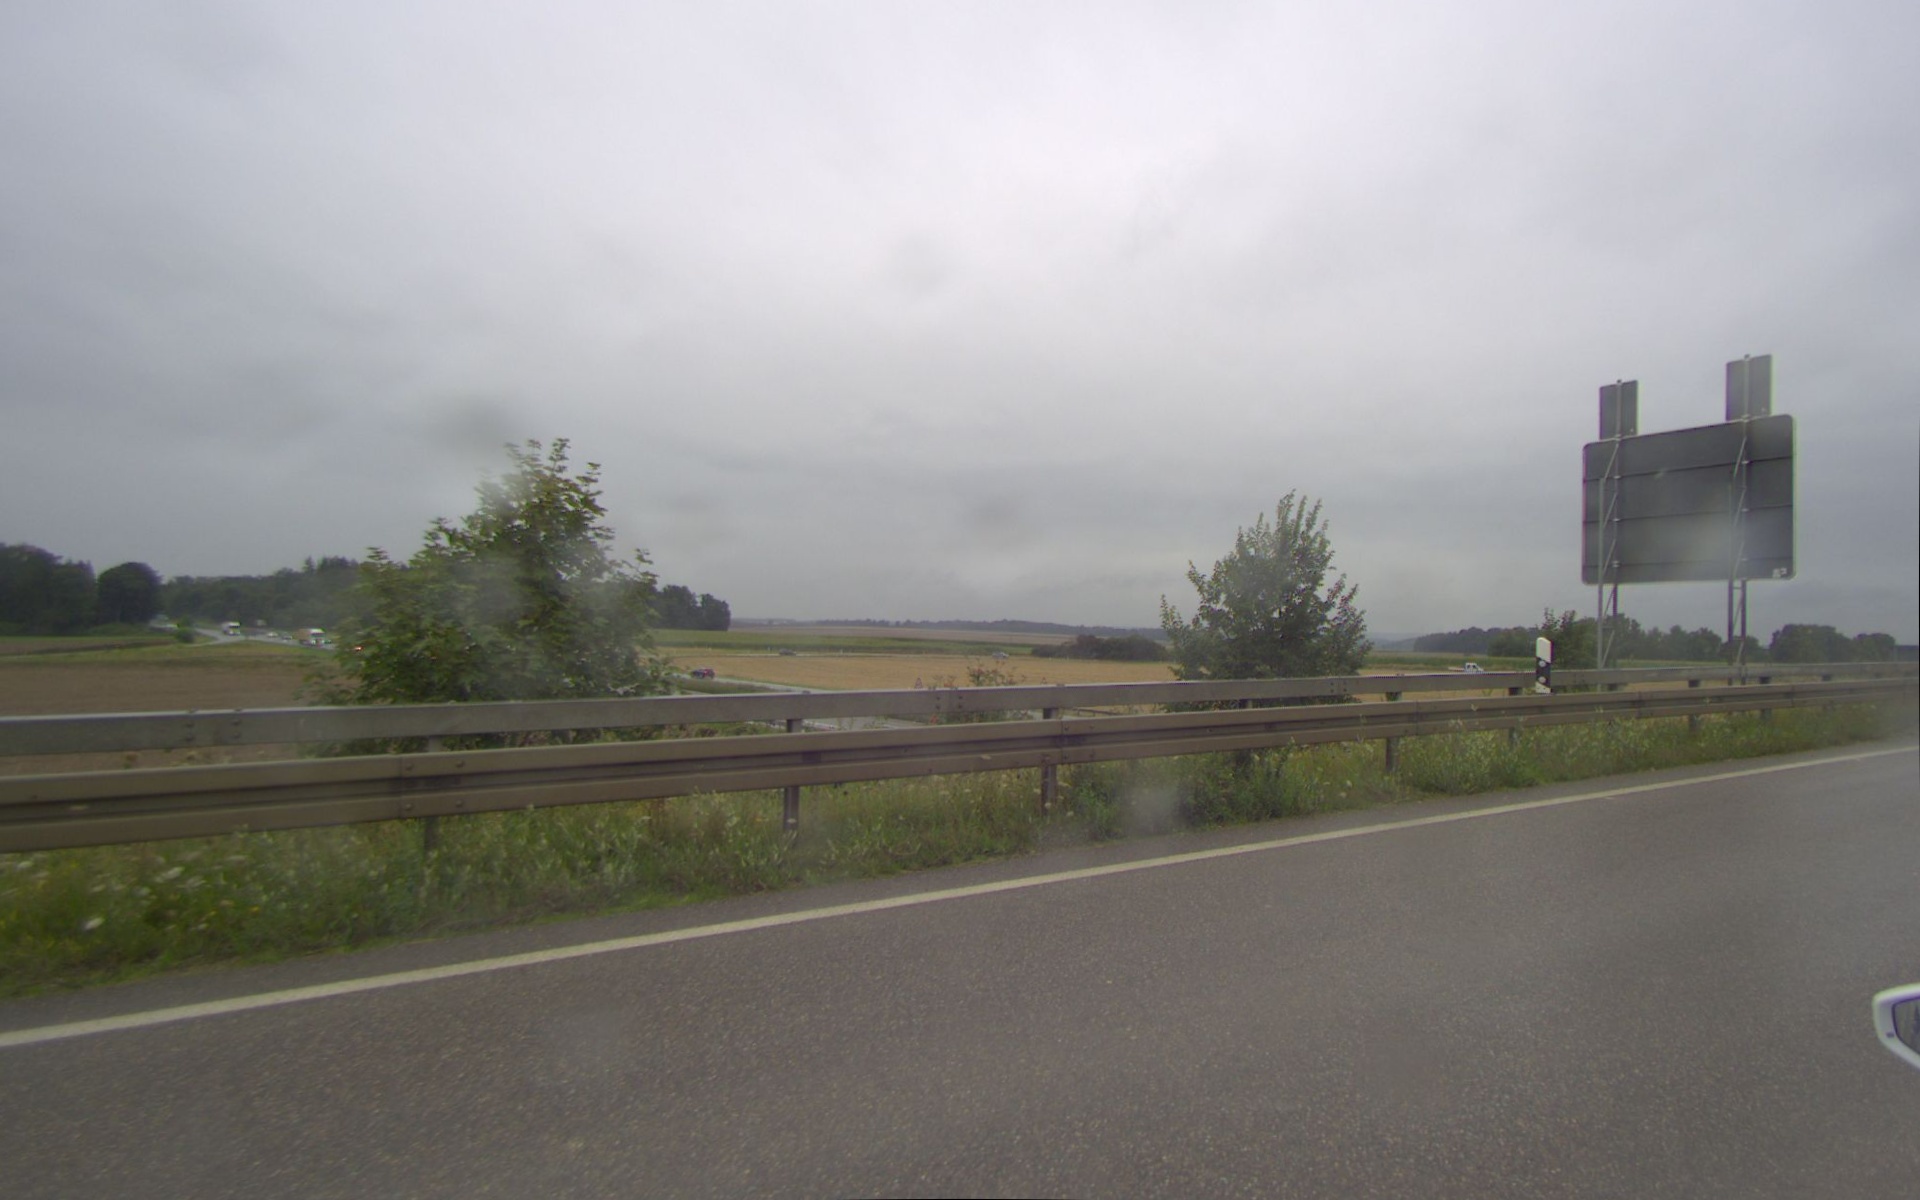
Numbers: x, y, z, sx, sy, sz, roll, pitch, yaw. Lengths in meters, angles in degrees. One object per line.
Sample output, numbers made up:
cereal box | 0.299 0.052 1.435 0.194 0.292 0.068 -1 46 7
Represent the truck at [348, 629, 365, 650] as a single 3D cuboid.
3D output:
truck | -128.619 8.301 213.969 2.219 3.749 9.747 1 2 -37
